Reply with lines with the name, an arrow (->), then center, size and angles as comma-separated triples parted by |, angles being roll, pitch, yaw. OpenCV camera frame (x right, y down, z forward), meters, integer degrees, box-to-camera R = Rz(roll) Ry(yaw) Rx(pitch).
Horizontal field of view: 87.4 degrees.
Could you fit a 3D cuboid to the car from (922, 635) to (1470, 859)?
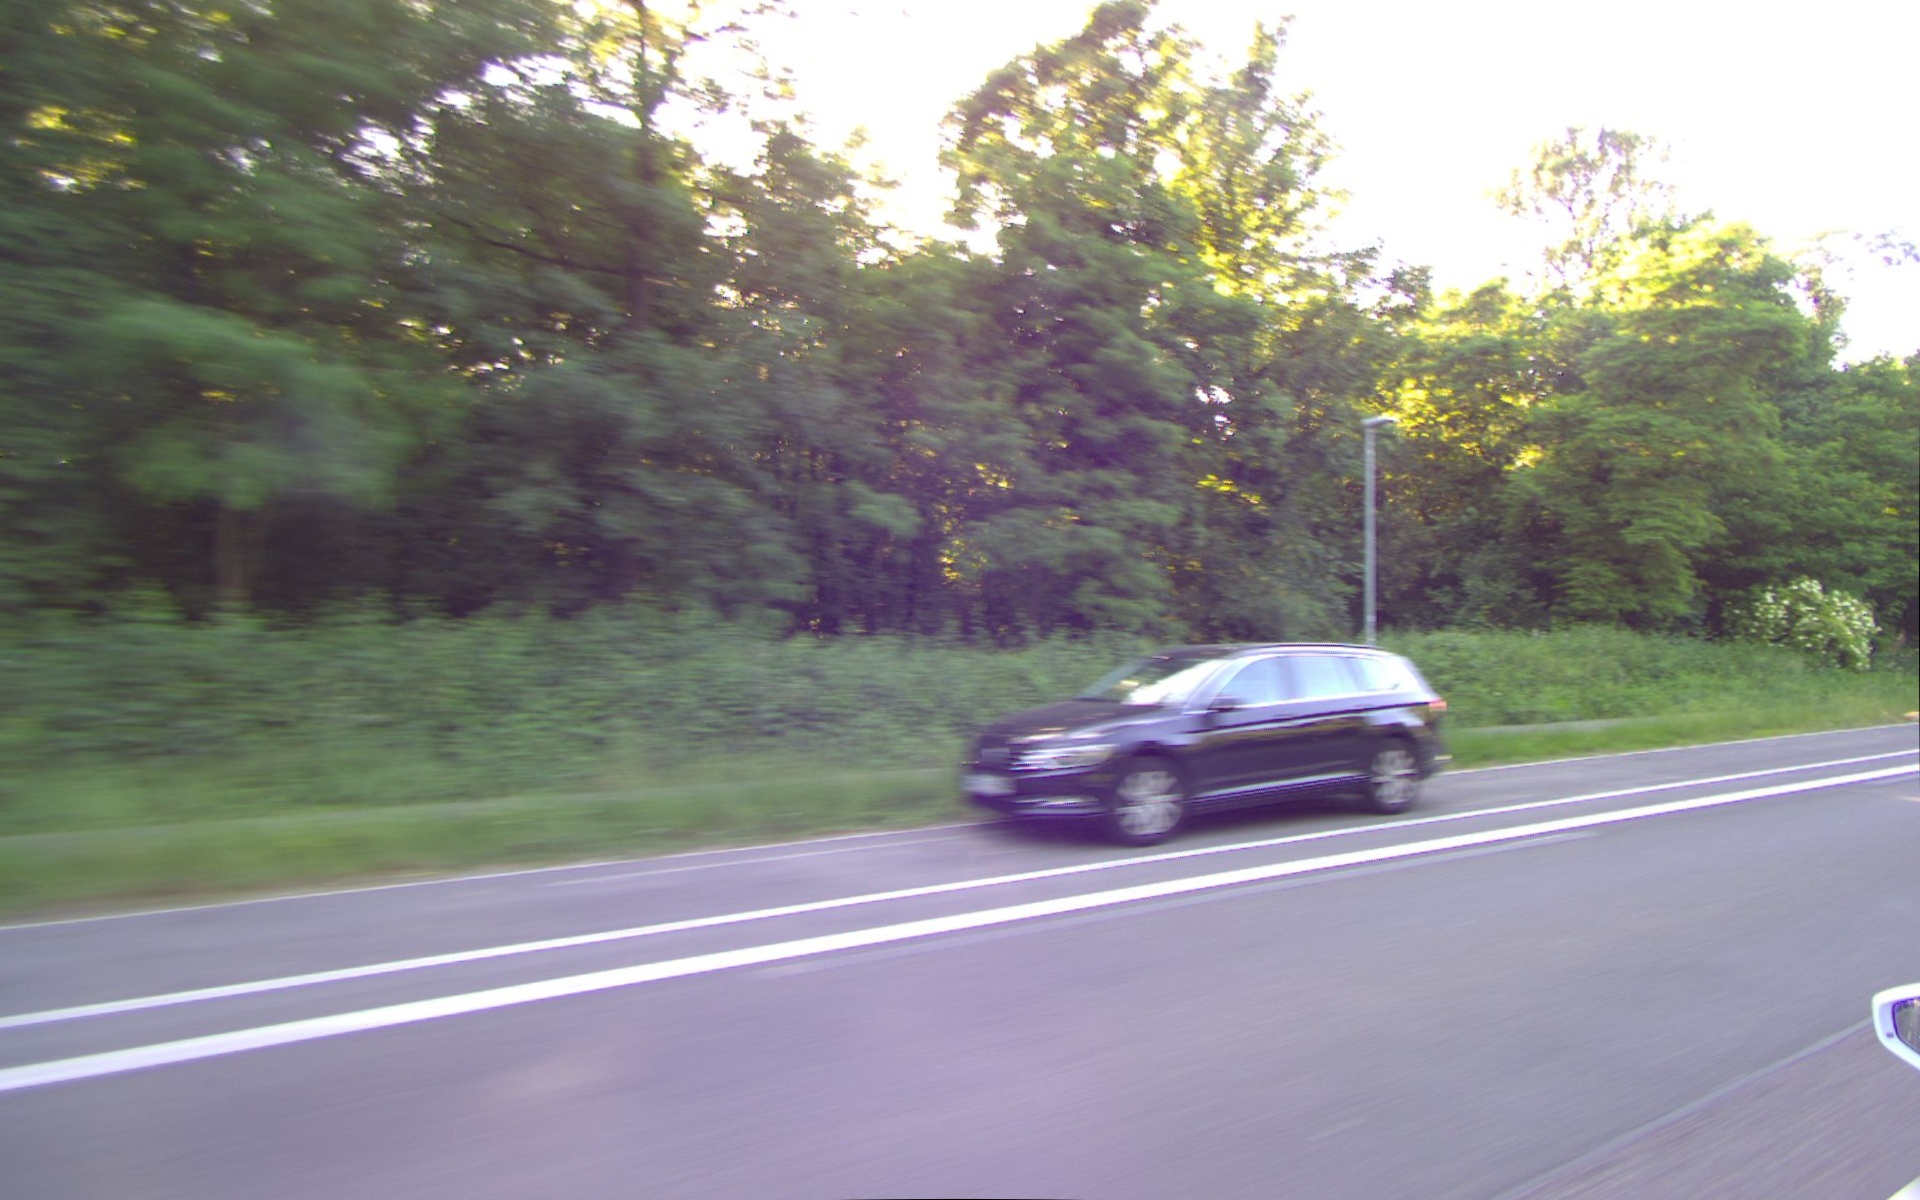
car -> 2.176, 1.072, 8.785 | 4.728, 1.484, 1.846 | 1, -1, -30
